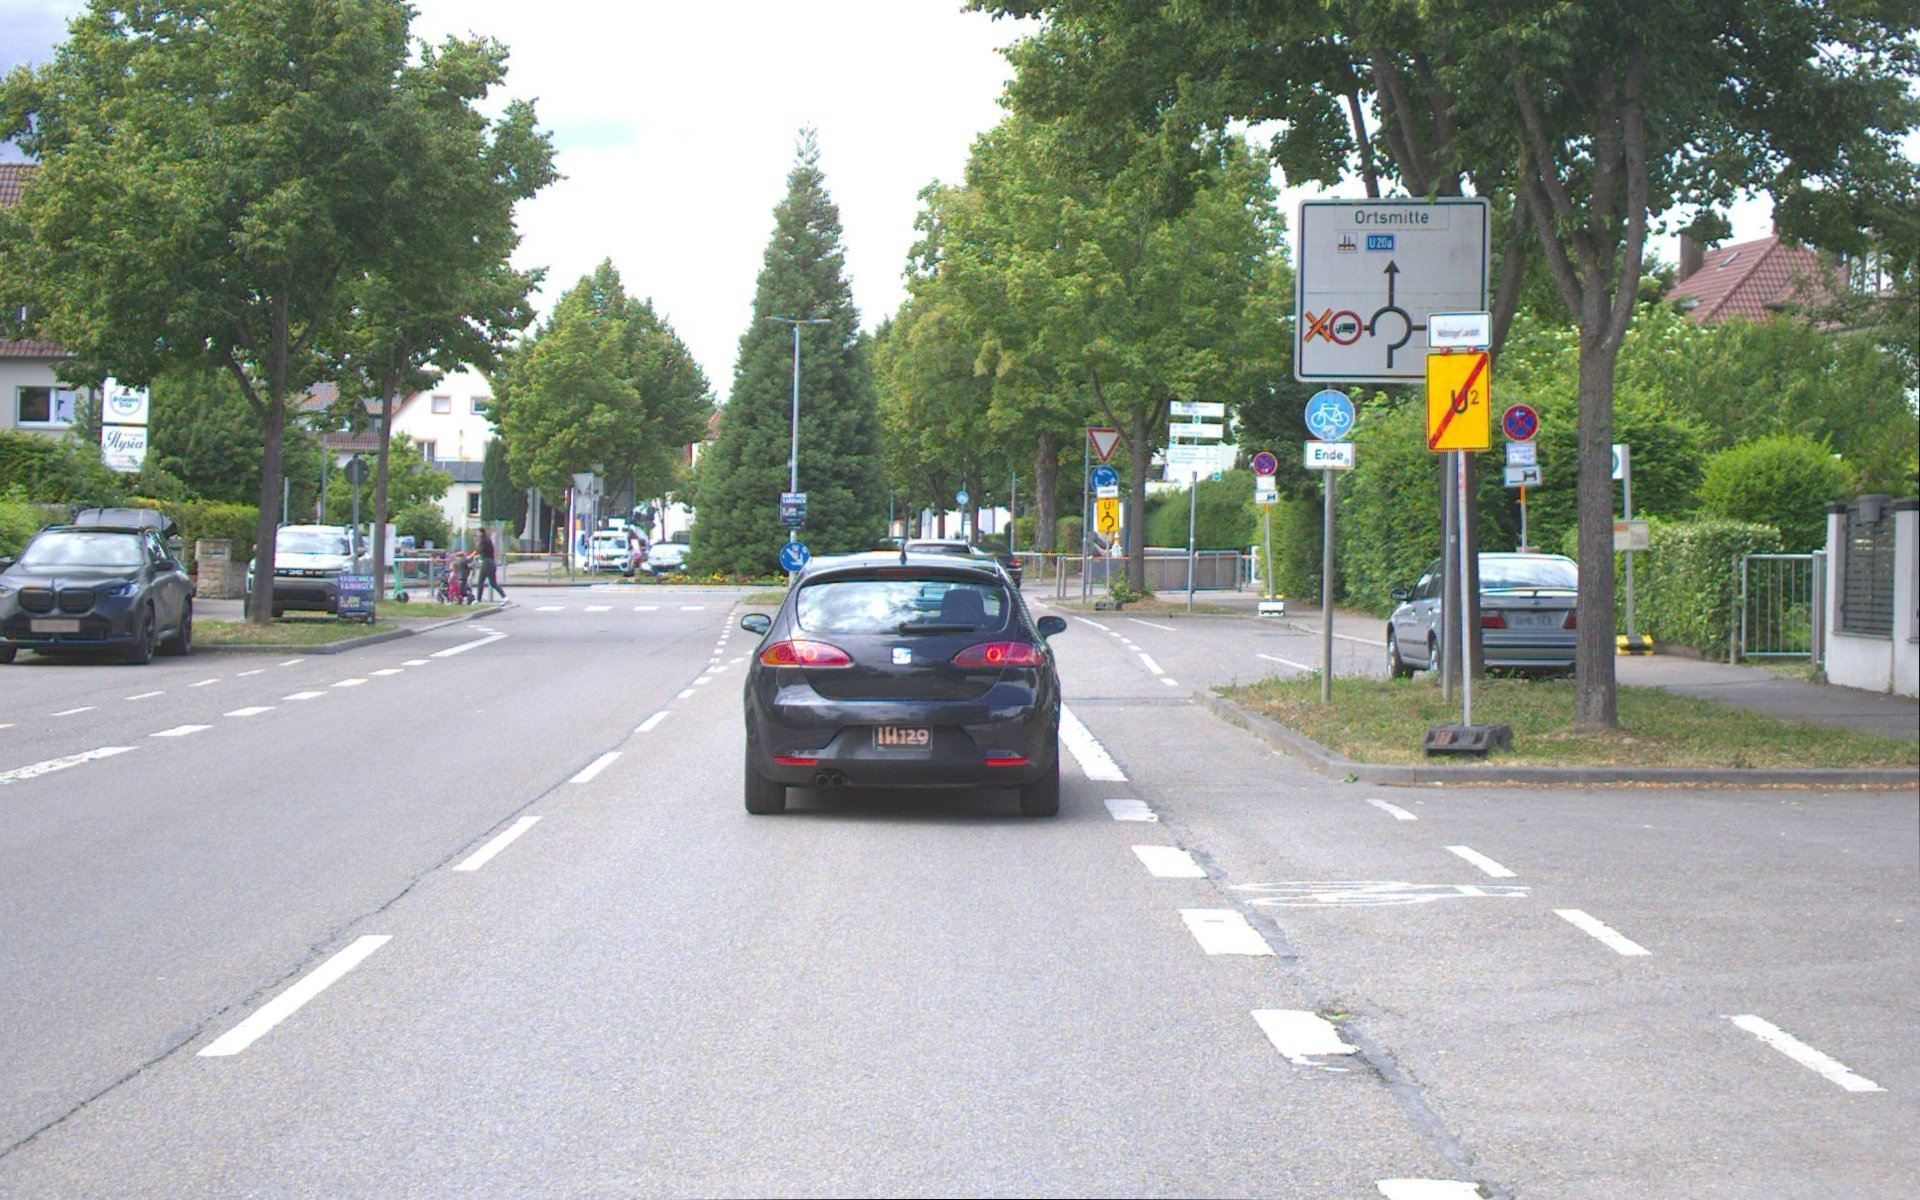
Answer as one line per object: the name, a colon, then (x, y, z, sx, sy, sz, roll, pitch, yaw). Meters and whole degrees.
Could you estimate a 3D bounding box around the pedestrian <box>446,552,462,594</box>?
pedestrian: (-10.676, -0.574, 72.536, 0.238, 0.891, 0.260, 0, 1, -28)

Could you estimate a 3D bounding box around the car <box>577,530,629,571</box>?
car: (-14.112, -1.984, 136.098, 1.797, 1.596, 4.001, 0, 1, -2)

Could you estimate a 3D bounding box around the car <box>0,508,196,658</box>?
car: (-10.653, -0.238, 42.230, 1.724, 1.719, 4.565, 1, 1, -3)

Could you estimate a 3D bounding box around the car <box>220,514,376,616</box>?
car: (-11.238, -0.611, 58.619, 1.860, 1.648, 4.294, 1, 1, -1)

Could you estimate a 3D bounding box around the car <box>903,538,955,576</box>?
car: (-1.265, -1.721, 138.229, 1.474, 1.484, 3.383, 0, 1, -11)

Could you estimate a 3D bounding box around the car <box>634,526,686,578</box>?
car: (-9.589, -1.554, 110.017, 1.568, 1.628, 3.622, 0, 1, -4)

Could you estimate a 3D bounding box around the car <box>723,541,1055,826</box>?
car: (-0.325, 0.405, 20.001, 1.732, 1.481, 4.000, 0, 1, 1)

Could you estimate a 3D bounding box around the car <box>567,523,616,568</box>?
car: (-16.506, -2.443, 154.132, 2.029, 1.964, 4.001, 0, 1, -4)

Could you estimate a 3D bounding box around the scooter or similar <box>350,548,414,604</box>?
scooter or similar: (-11.946, -0.496, 71.077, 1.284, 1.135, 0.347, 0, 1, -32)

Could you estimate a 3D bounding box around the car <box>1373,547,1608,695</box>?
car: (5.262, 0.206, 34.555, 1.612, 1.372, 4.387, 1, 0, -1)

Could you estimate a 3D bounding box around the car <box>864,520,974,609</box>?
car: (-0.778, -0.688, 65.688, 1.993, 1.607, 4.000, 1, 1, -1)

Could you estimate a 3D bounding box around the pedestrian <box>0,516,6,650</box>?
pedestrian: (-12.275, -0.219, 42.572, 0.786, 1.658, 0.754, 1, 1, -8)

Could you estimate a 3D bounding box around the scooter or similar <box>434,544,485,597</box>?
scooter or similar: (-10.724, -0.633, 73.720, 0.968, 1.092, 0.406, 3, 1, 26)

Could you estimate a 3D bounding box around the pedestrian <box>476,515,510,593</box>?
pedestrian: (-9.984, -0.978, 73.540, 0.515, 1.664, 0.482, 1, 1, 39)
